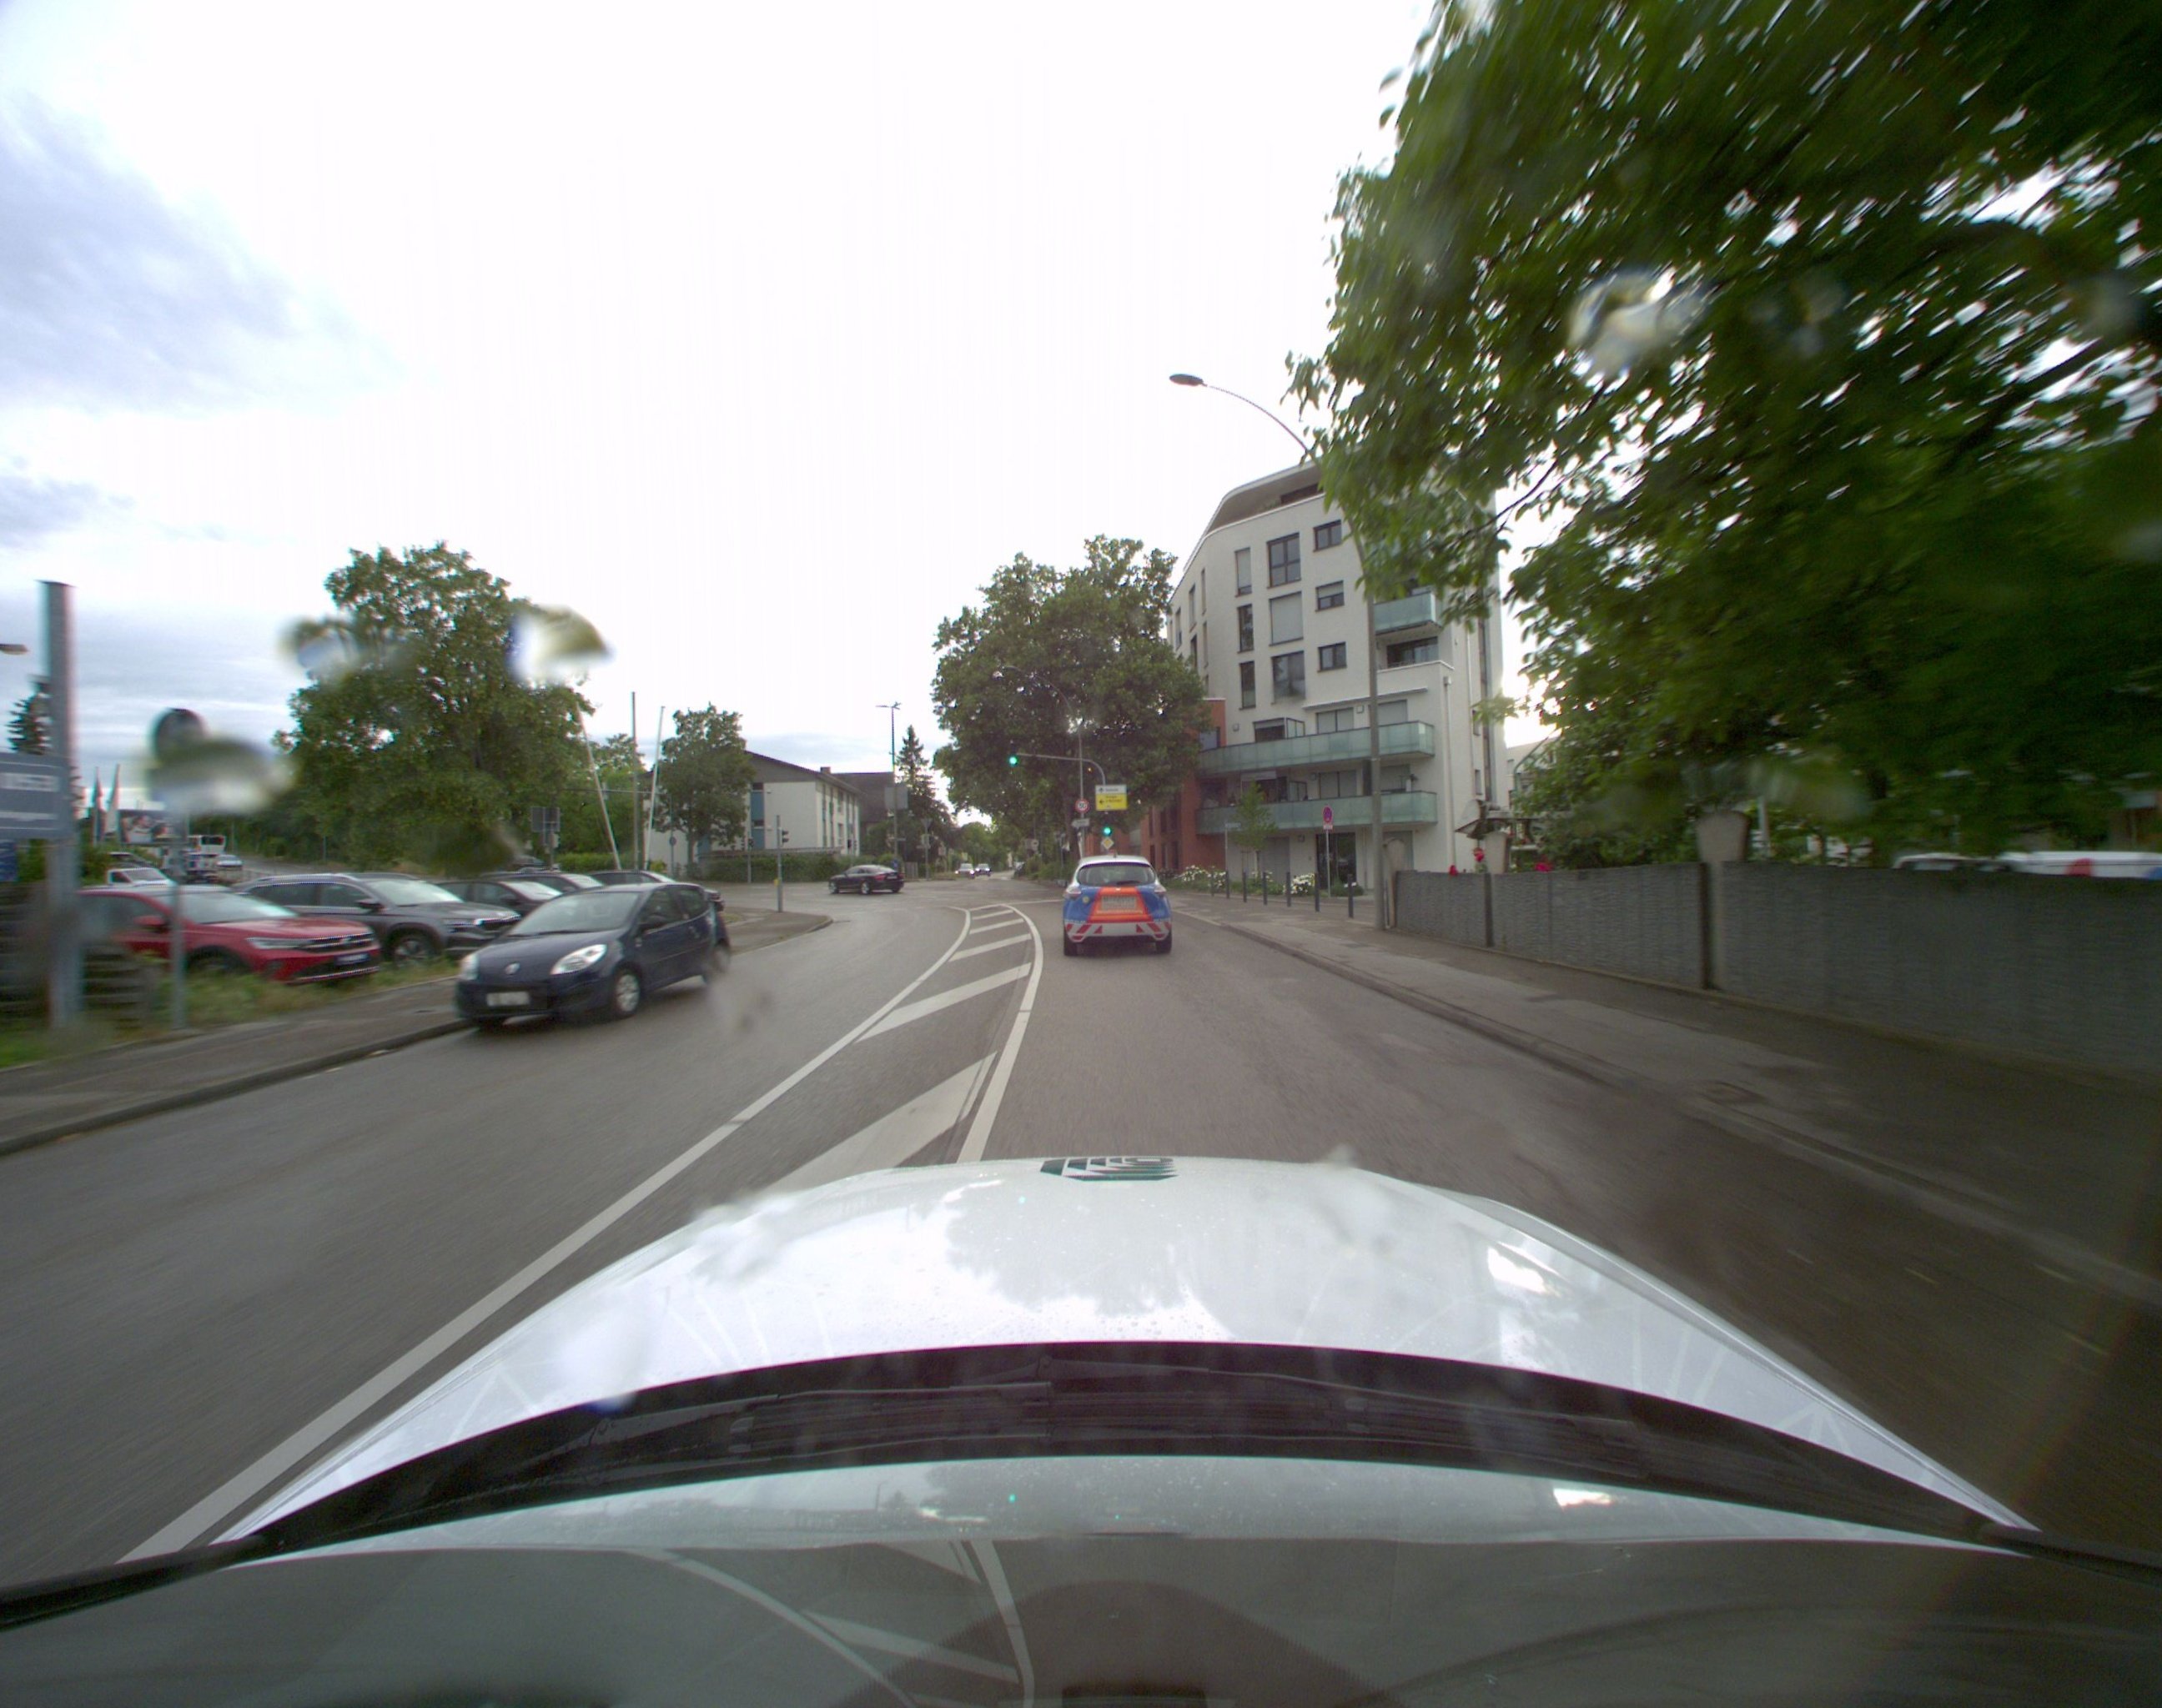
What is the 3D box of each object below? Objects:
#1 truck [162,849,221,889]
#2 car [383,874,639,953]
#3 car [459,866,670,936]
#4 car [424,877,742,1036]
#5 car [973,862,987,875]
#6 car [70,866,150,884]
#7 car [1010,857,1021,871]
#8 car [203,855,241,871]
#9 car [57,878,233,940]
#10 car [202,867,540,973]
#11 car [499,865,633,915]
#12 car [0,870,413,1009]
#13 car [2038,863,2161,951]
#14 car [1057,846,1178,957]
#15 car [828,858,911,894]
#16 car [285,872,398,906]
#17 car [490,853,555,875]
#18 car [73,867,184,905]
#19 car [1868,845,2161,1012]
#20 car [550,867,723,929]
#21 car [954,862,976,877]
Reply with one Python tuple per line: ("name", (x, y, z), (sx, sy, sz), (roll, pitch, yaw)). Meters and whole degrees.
("truck", (-60.822, 0.969, 55.643), (5.487, 2.539, 2.013), (0, 1, 35))
("car", (-11.653, 1.185, 16.856), (3.974, 1.441, 1.803), (-1, 0, 0))
("car", (-12.376, 1.103, 19.698), (3.936, 1.530, 1.690), (-1, 1, -2))
("car", (-5.757, 1.076, 10.011), (1.622, 1.433, 3.682), (-2, 0, -1))
("car", (-13.462, 1.938, 108.524), (1.876, 1.669, 3.704), (-1, 0, -7))
("car", (-80.946, 1.753, 67.948), (1.791, 1.376, 4.024), (-1, 0, 27))
("car", (-9.846, 1.450, 122.885), (1.641, 2.017, 3.709), (-1, 0, -5))
("car", (-81.412, 0.823, 77.193), (3.660, 1.404, 1.602), (0, 1, 29))
("car", (-28.435, 1.597, 24.941), (1.712, 1.555, 3.976), (-1, 1, -18))
("car", (-11.594, 1.030, 13.518), (3.974, 1.544, 1.803), (-1, 0, 0))
("car", (-20.185, 1.356, 32.079), (1.734, 1.554, 4.026), (0, 3, 34))
("car", (-11.395, 1.034, 10.532), (3.974, 1.544, 1.803), (-1, 0, 0))
("car", (20.700, 0.953, 14.730), (4.074, 1.542, 1.865), (-1, 0, 38))
("car", (0.514, 0.689, 14.090), (1.741, 1.581, 3.998), (-2, 0, -1))
("car", (-10.258, 1.018, 39.423), (3.949, 1.574, 2.013), (0, 1, 41))
("car", (-35.029, 1.680, 38.720), (1.750, 1.522, 3.995), (-1, -3, -2))
("car", (-46.410, 0.795, 67.745), (1.974, 1.723, 4.026), (0, 1, 35))
("car", (-53.709, 1.802, 45.976), (3.971, 1.994, 2.001), (-1, 1, 2))
("car", (13.046, 0.847, 10.422), (4.111, 1.870, 1.999), (-1, 1, -1))
("car", (-12.365, 1.191, 22.903), (3.950, 1.530, 1.615), (-1, 1, -13))
("car", (-11.160, 1.509, 78.594), (1.940, 1.452, 4.289), (0, -1, -6))
